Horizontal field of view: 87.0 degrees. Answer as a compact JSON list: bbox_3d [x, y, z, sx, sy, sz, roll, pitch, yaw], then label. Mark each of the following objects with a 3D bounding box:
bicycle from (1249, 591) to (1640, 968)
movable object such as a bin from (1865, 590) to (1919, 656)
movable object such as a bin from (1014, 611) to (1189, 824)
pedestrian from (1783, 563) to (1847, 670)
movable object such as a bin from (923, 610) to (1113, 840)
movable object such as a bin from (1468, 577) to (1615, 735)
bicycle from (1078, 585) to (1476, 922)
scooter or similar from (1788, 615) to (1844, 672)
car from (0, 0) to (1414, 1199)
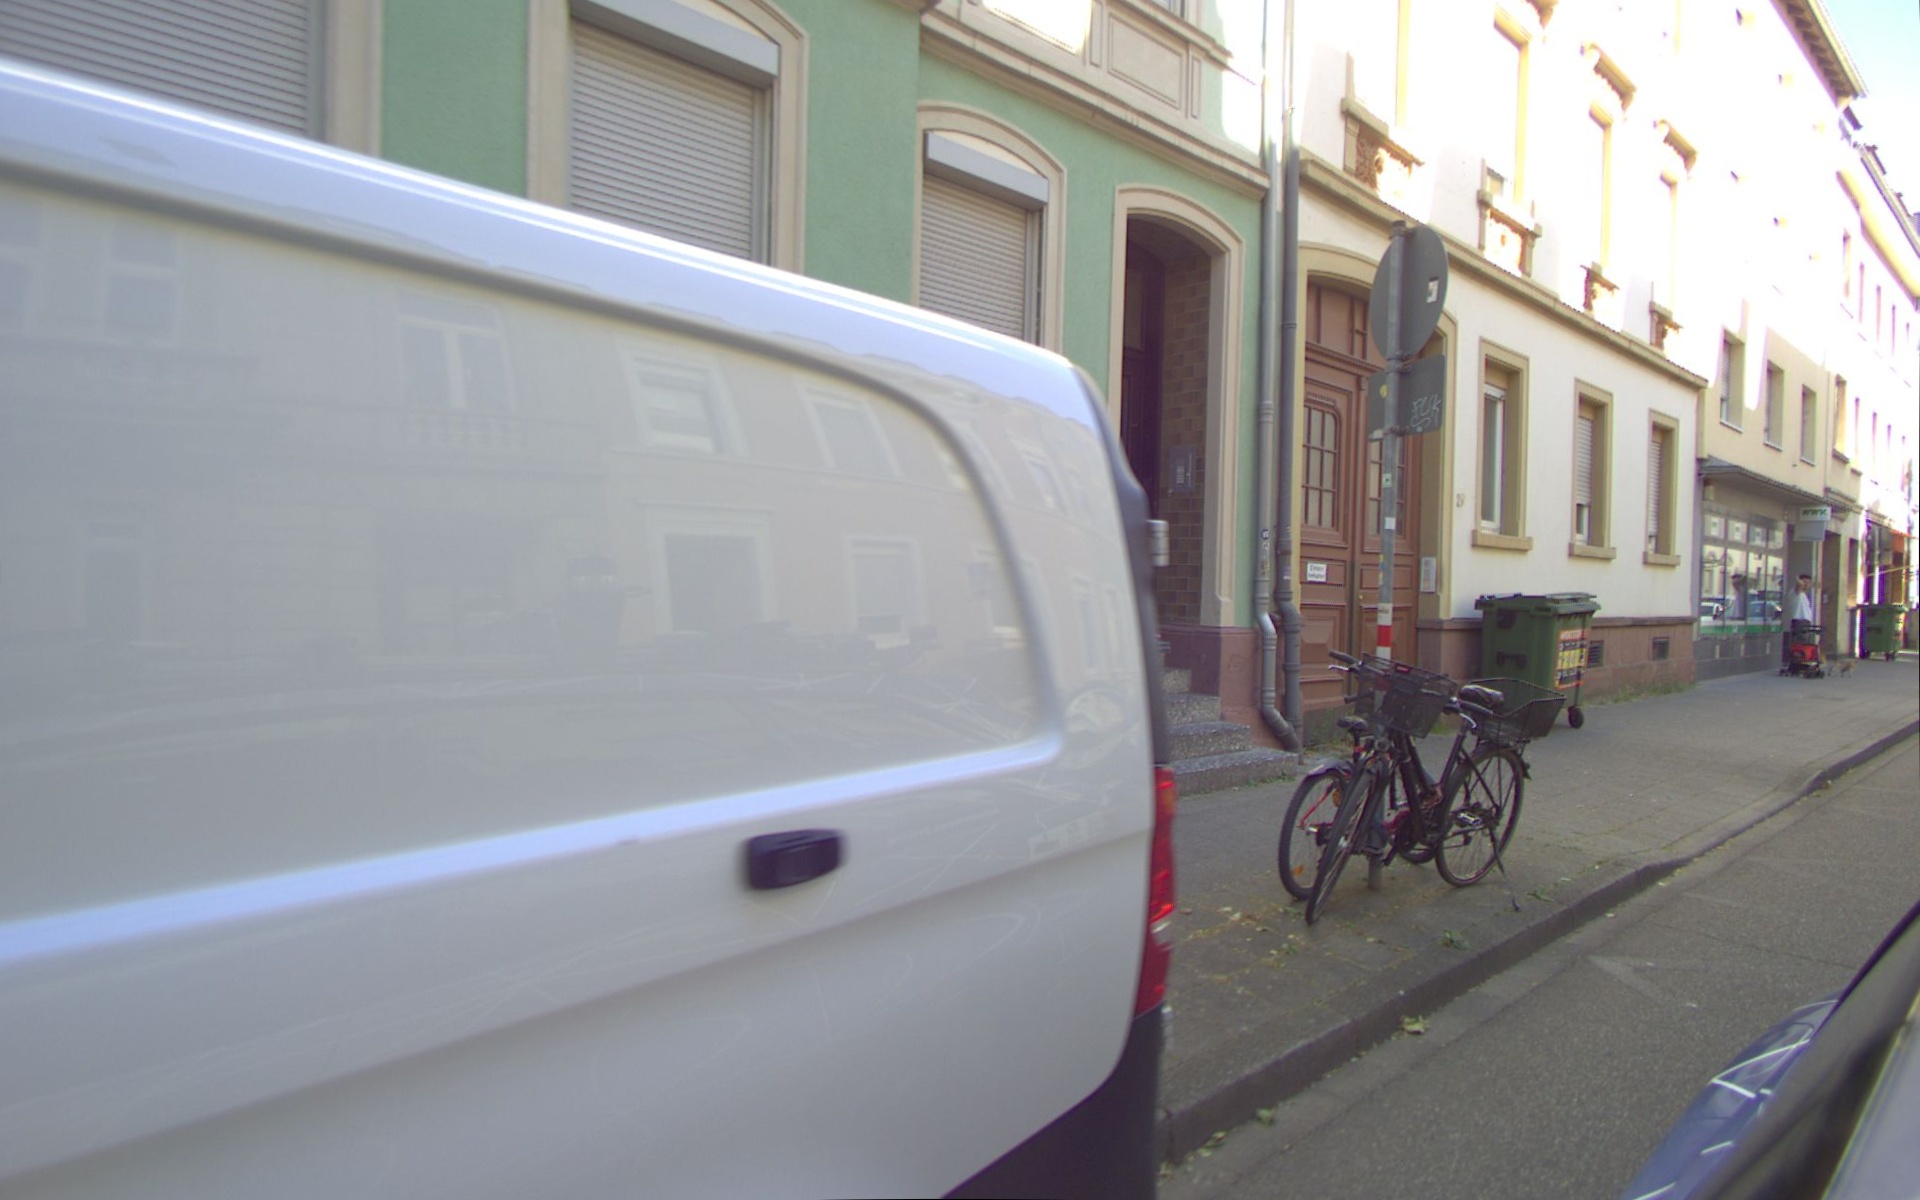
[{"bbox_3d":[2.232,0.652,4.501,2.158,1.337,0.577,1,2,-36],"label":"bicycle"},{"bbox_3d":[22.149,0.531,23.963,1.347,1.454,0.748,0,4,-38],"label":"movable object such as a bin"},{"bbox_3d":[0.824,0.641,5.968,0.630,1.109,0.799,0,2,-37],"label":"movable object such as a bin"},{"bbox_3d":[15.625,0.284,18.513,0.644,1.882,0.741,4,2,28],"label":"pedestrian"},{"bbox_3d":[0.306,0.628,5.559,0.661,1.102,0.815,0,2,-37],"label":"movable object such as a bin"},{"bbox_3d":[5.811,0.504,10.100,1.275,1.406,0.839,-2,5,-41],"label":"movable object such as a bin"},{"bbox_3d":[1.579,0.602,4.805,2.158,1.286,0.577,0,3,-36],"label":"bicycle"},{"bbox_3d":[15.014,0.756,17.755,0.851,0.956,0.492,2,1,-33],"label":"scooter or similar"},{"bbox_3d":[-2.059,0.396,0.629,5.500,1.906,1.989,0,5,-40],"label":"car"}]
